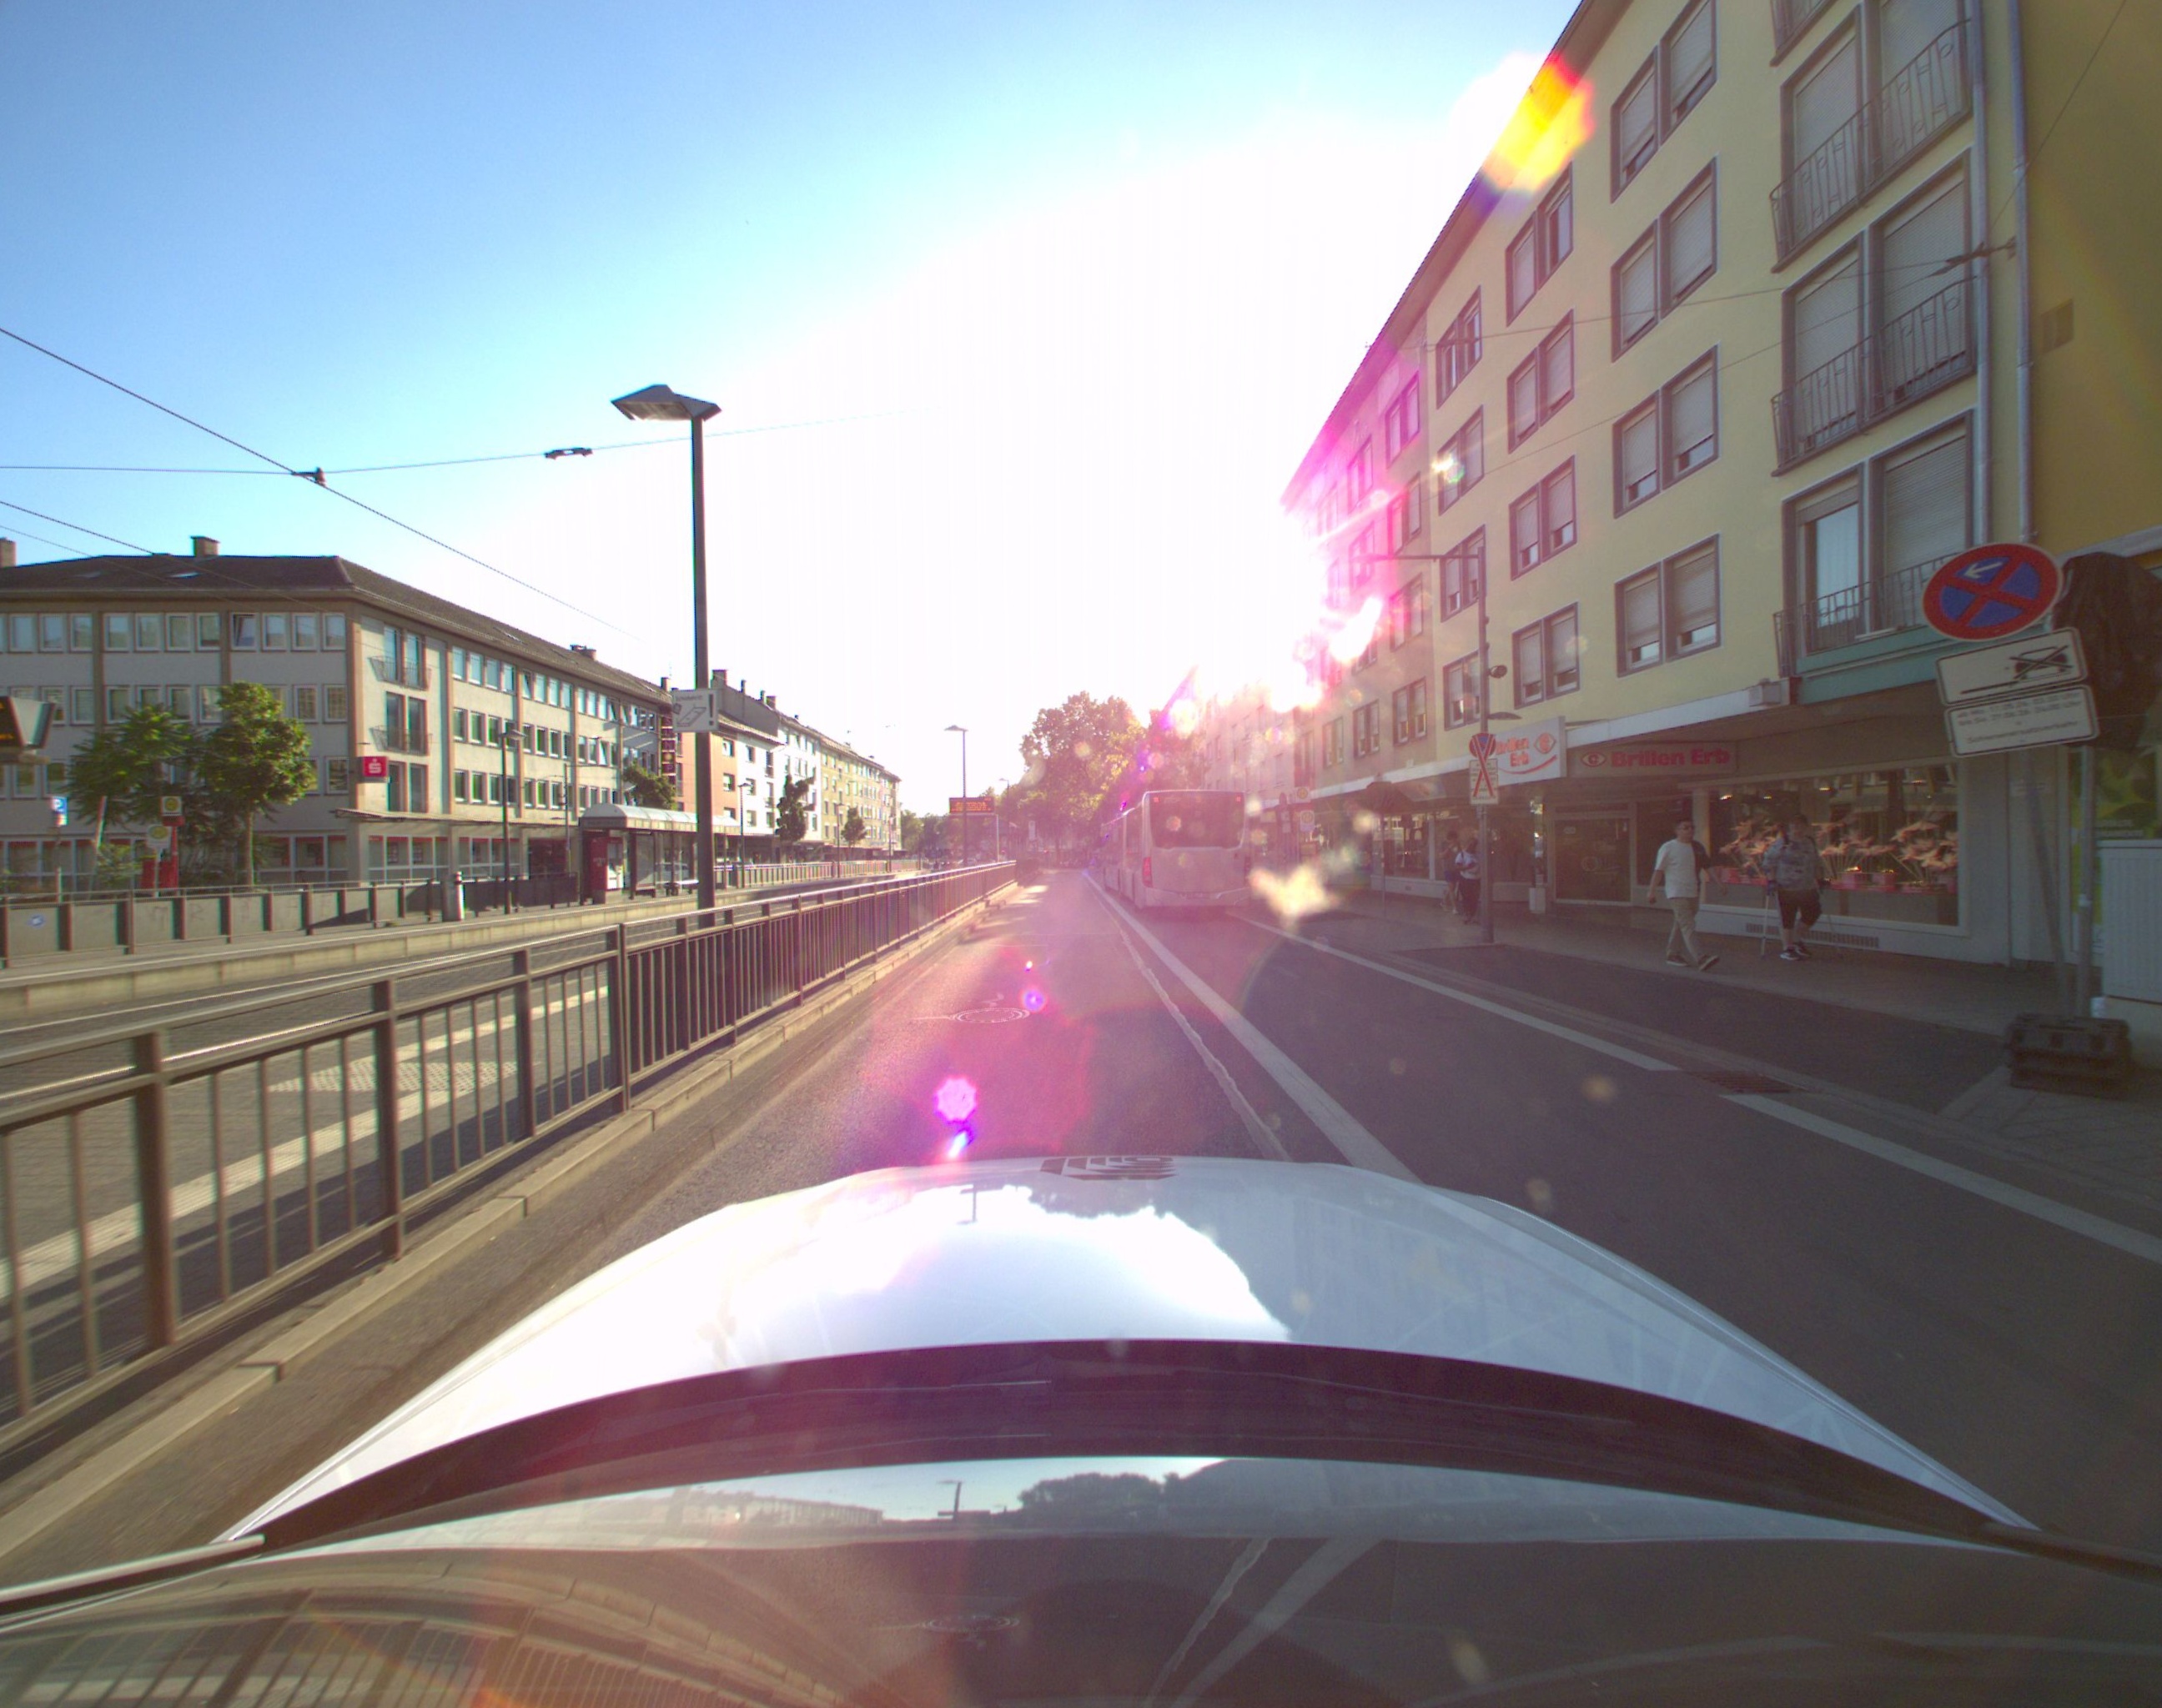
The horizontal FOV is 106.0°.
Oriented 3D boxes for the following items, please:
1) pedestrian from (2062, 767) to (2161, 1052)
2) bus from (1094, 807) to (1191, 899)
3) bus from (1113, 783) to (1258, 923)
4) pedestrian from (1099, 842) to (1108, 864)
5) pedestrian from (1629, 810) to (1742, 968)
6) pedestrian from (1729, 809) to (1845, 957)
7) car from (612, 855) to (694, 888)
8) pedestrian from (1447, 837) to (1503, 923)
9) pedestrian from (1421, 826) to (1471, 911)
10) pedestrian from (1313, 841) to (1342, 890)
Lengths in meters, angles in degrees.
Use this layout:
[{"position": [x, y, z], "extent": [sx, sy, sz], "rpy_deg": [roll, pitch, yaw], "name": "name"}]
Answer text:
[{"position": [7.204, 0.346, 5.283], "extent": [0.721, 1.806, 0.766], "rpy_deg": [-1, 0, -1], "name": "pedestrian"}, {"position": [2.157, -0.041, 32.107], "extent": [2.690, 3.118, 9.059], "rpy_deg": [0, 0, -3], "name": "bus"}, {"position": [2.530, -0.026, 22.937], "extent": [2.689, 3.118, 9.376], "rpy_deg": [0, 0, -1], "name": "bus"}, {"position": [2.712, -0.087, 97.091], "extent": [0.885, 2.546, 1.165], "rpy_deg": [-1, 0, 6], "name": "pedestrian"}, {"position": [7.117, 0.398, 9.622], "extent": [0.721, 1.779, 0.766], "rpy_deg": [-1, 0, -1], "name": "pedestrian"}, {"position": [8.658, 0.342, 10.013], "extent": [0.721, 1.723, 0.766], "rpy_deg": [-1, 0, -1], "name": "pedestrian"}, {"position": [-23.307, 0.904, 44.399], "extent": [1.748, 1.679, 3.533], "rpy_deg": [-1, 0, 38], "name": "car"}, {"position": [7.537, 0.488, 15.599], "extent": [0.608, 1.578, 0.850], "rpy_deg": [-1, 0, -1], "name": "pedestrian"}, {"position": [8.117, 0.311, 18.129], "extent": [0.721, 1.840, 0.766], "rpy_deg": [-1, 0, -1], "name": "pedestrian"}, {"position": [8.429, 0.394, 27.876], "extent": [0.721, 1.632, 0.766], "rpy_deg": [-1, 0, -1], "name": "pedestrian"}]
